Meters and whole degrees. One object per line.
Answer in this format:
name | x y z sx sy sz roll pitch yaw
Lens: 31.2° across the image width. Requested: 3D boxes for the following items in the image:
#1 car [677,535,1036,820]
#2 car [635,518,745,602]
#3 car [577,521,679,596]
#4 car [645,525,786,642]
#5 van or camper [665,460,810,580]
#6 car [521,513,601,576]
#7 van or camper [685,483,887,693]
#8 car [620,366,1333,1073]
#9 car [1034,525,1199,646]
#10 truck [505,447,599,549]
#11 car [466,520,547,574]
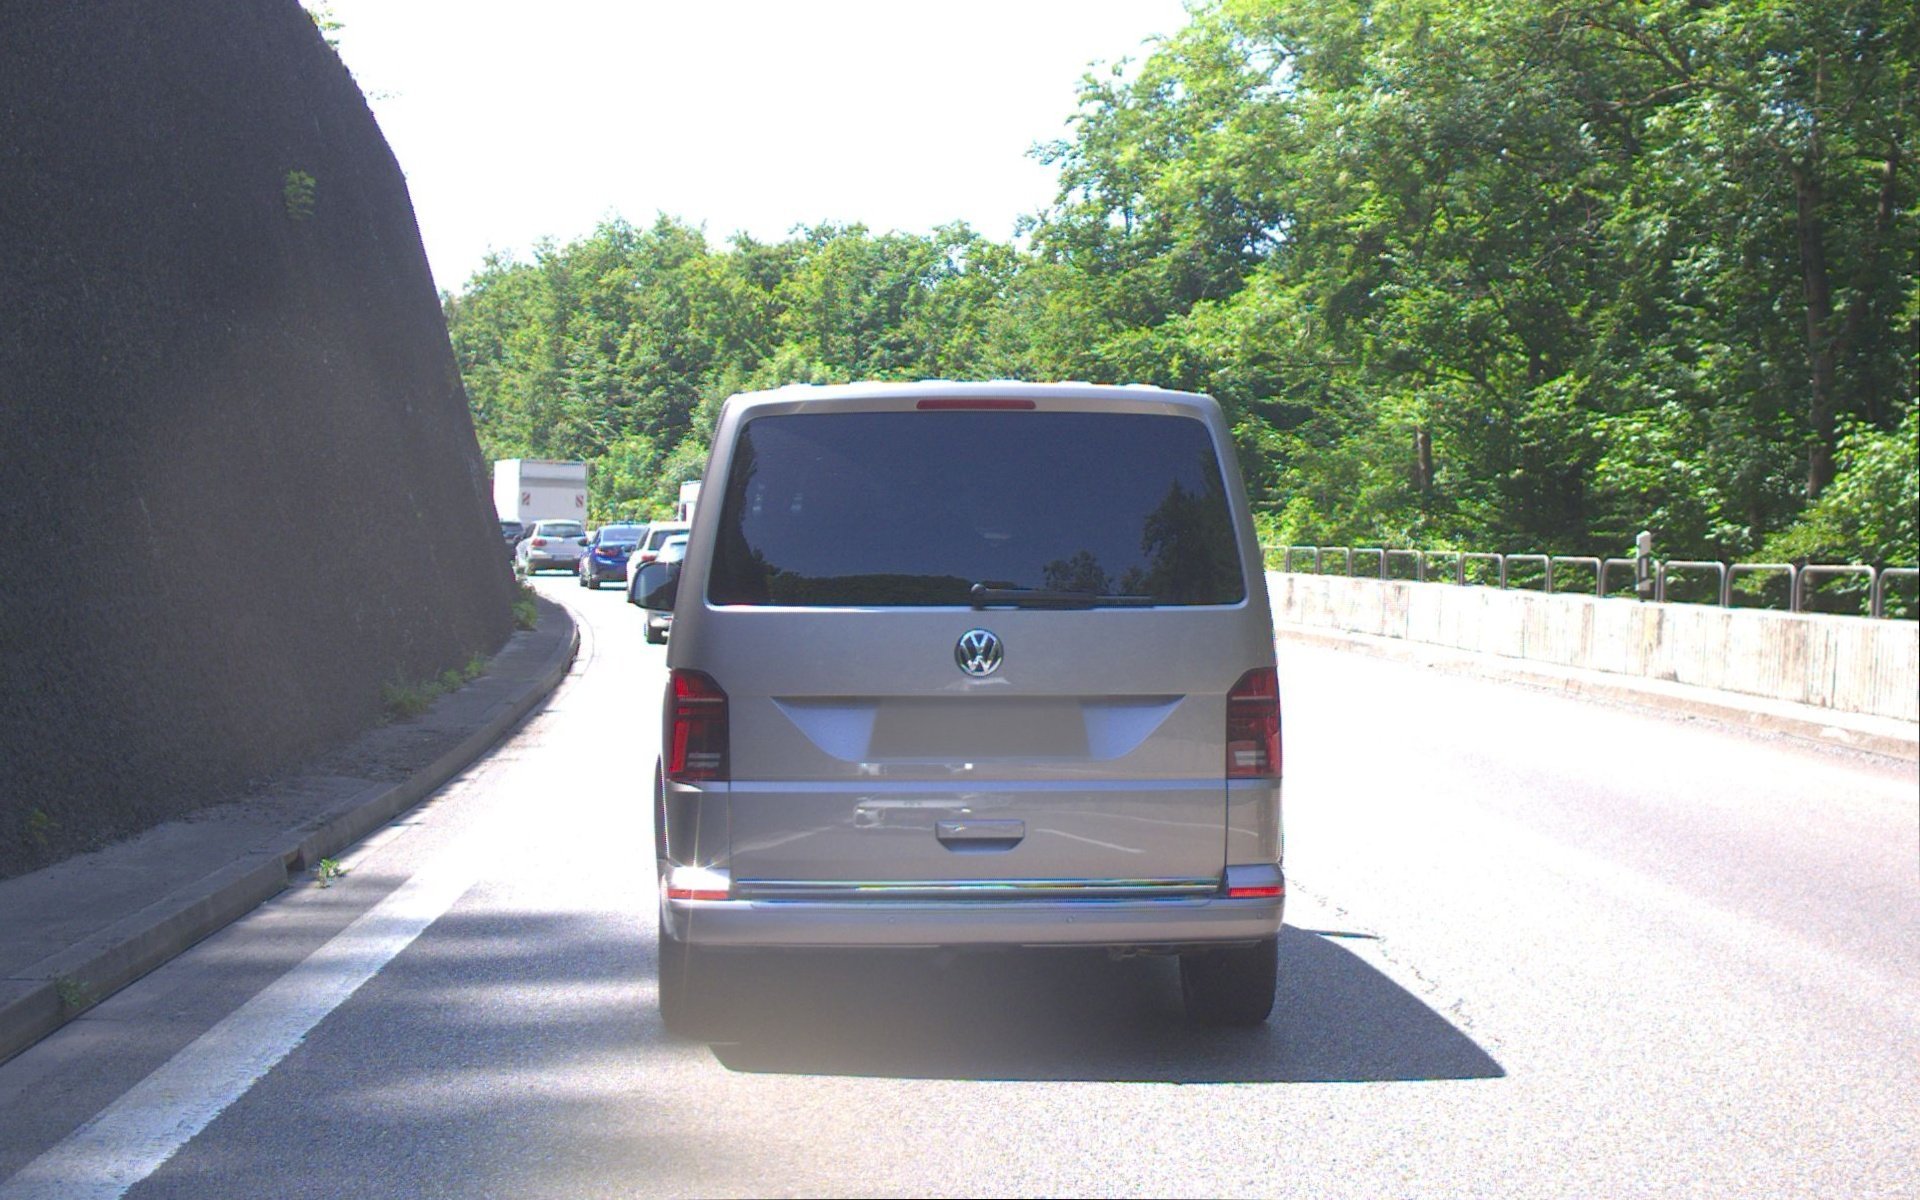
car | -0.742 0.386 20.996 1.904 1.484 4.380 2 1 -5
car | -5.012 -0.766 63.409 1.862 1.481 4.001 1 1 -7
car | -7.484 -0.949 77.280 1.857 1.614 4.001 1 1 -11
car | -3.304 -0.252 45.867 1.771 1.467 4.001 1 1 -5
van or camper | -5.901 -2.146 90.235 2.603 2.845 6.338 5 1 -13
car | -10.651 -1.486 91.560 1.993 1.612 4.001 1 1 -8
van or camper | -1.756 -0.156 33.823 1.853 1.935 4.166 0 1 -4
car | 0.006 0.283 11.881 1.940 1.924 4.695 1 1 -1
car | 1.993 -0.221 44.736 1.685 1.453 4.001 2 1 -3
truck | -15.303 -3.787 128.562 2.924 3.674 7.727 0 1 -11
car | -13.772 -1.624 104.175 1.750 1.565 3.772 1 1 -18
